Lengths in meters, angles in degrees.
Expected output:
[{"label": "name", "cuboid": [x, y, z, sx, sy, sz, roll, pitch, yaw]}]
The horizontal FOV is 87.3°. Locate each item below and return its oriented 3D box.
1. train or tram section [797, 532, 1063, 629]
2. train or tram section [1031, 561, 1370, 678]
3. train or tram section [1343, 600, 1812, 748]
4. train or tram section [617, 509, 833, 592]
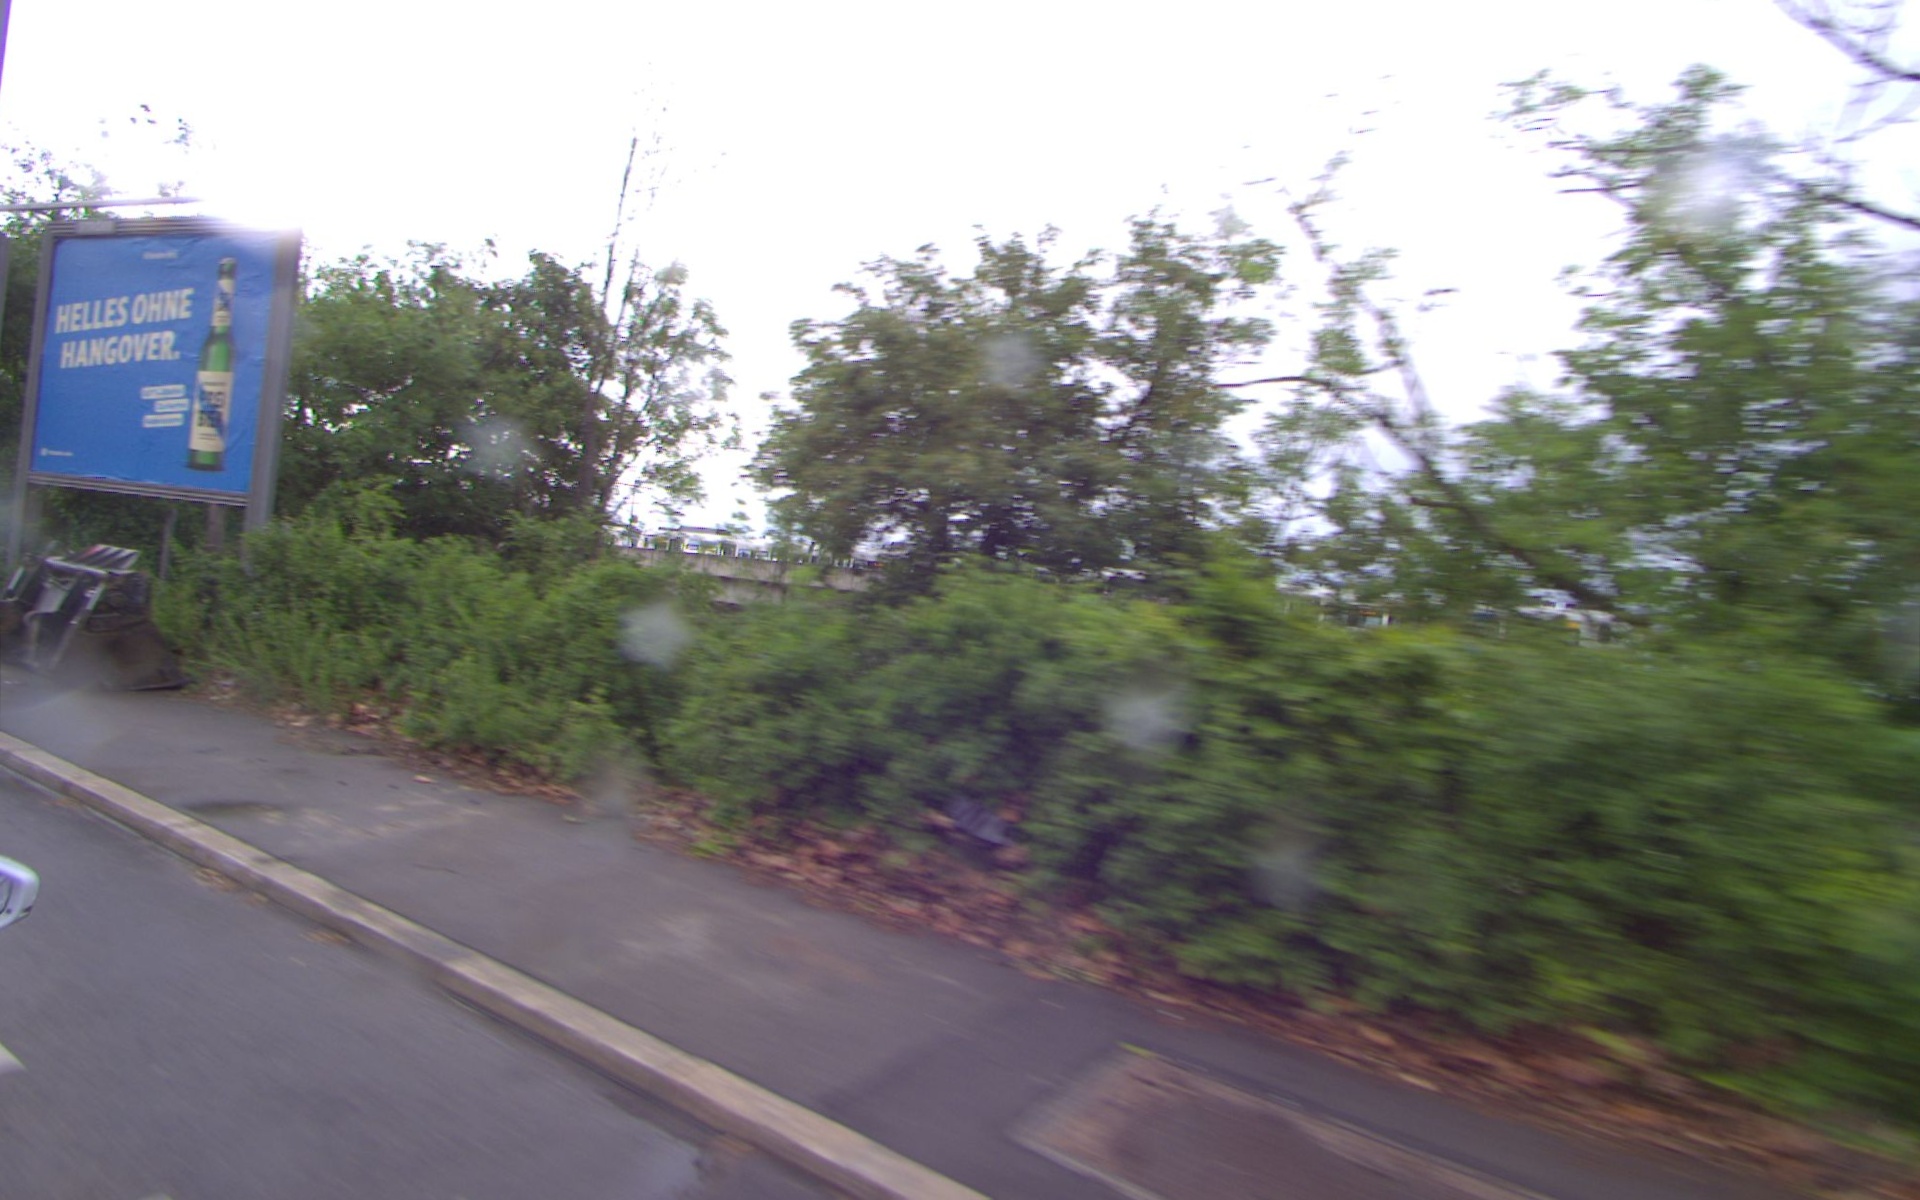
[{"label": "train or tram section", "cuboid": [-2.371, -1.426, 66.021, 18.170, 3.875, 3.206, 9, -1, 30]}, {"label": "train or tram section", "cuboid": [13.086, 0.927, 56.943, 18.170, 3.875, 3.206, 9, -1, 30]}, {"label": "train or tram section", "cuboid": [28.311, 3.244, 47.972, 18.170, 3.875, 3.206, 9, -1, 30]}, {"label": "train or tram section", "cuboid": [-17.900, -3.802, 75.163, 18.170, 3.875, 3.206, 9, -1, 30]}]
